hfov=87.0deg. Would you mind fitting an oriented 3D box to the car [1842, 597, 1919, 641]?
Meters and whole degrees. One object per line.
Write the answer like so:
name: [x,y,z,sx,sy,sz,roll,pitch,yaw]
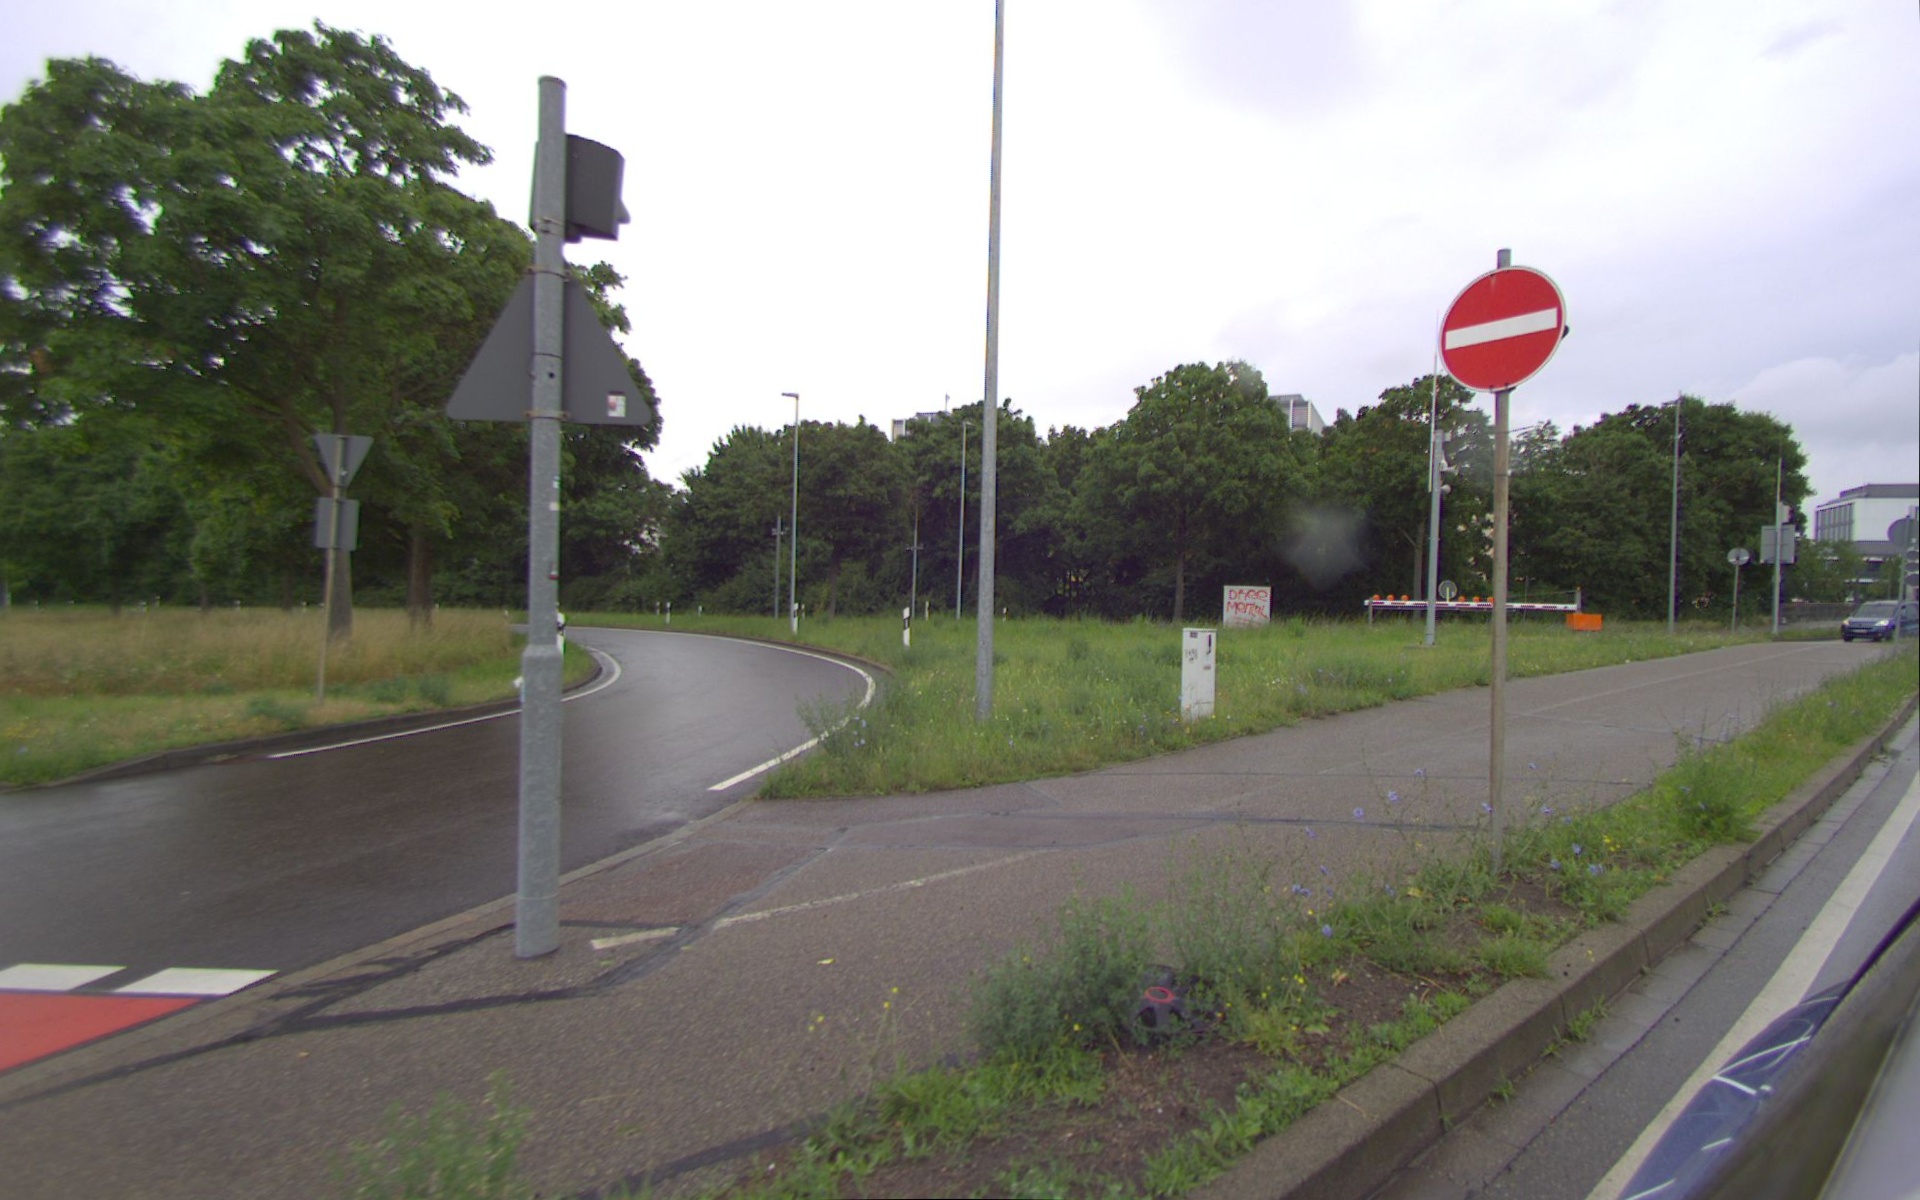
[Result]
car: [40.763,0.802,44.455,4.725,1.773,1.852,-2,0,-33]
